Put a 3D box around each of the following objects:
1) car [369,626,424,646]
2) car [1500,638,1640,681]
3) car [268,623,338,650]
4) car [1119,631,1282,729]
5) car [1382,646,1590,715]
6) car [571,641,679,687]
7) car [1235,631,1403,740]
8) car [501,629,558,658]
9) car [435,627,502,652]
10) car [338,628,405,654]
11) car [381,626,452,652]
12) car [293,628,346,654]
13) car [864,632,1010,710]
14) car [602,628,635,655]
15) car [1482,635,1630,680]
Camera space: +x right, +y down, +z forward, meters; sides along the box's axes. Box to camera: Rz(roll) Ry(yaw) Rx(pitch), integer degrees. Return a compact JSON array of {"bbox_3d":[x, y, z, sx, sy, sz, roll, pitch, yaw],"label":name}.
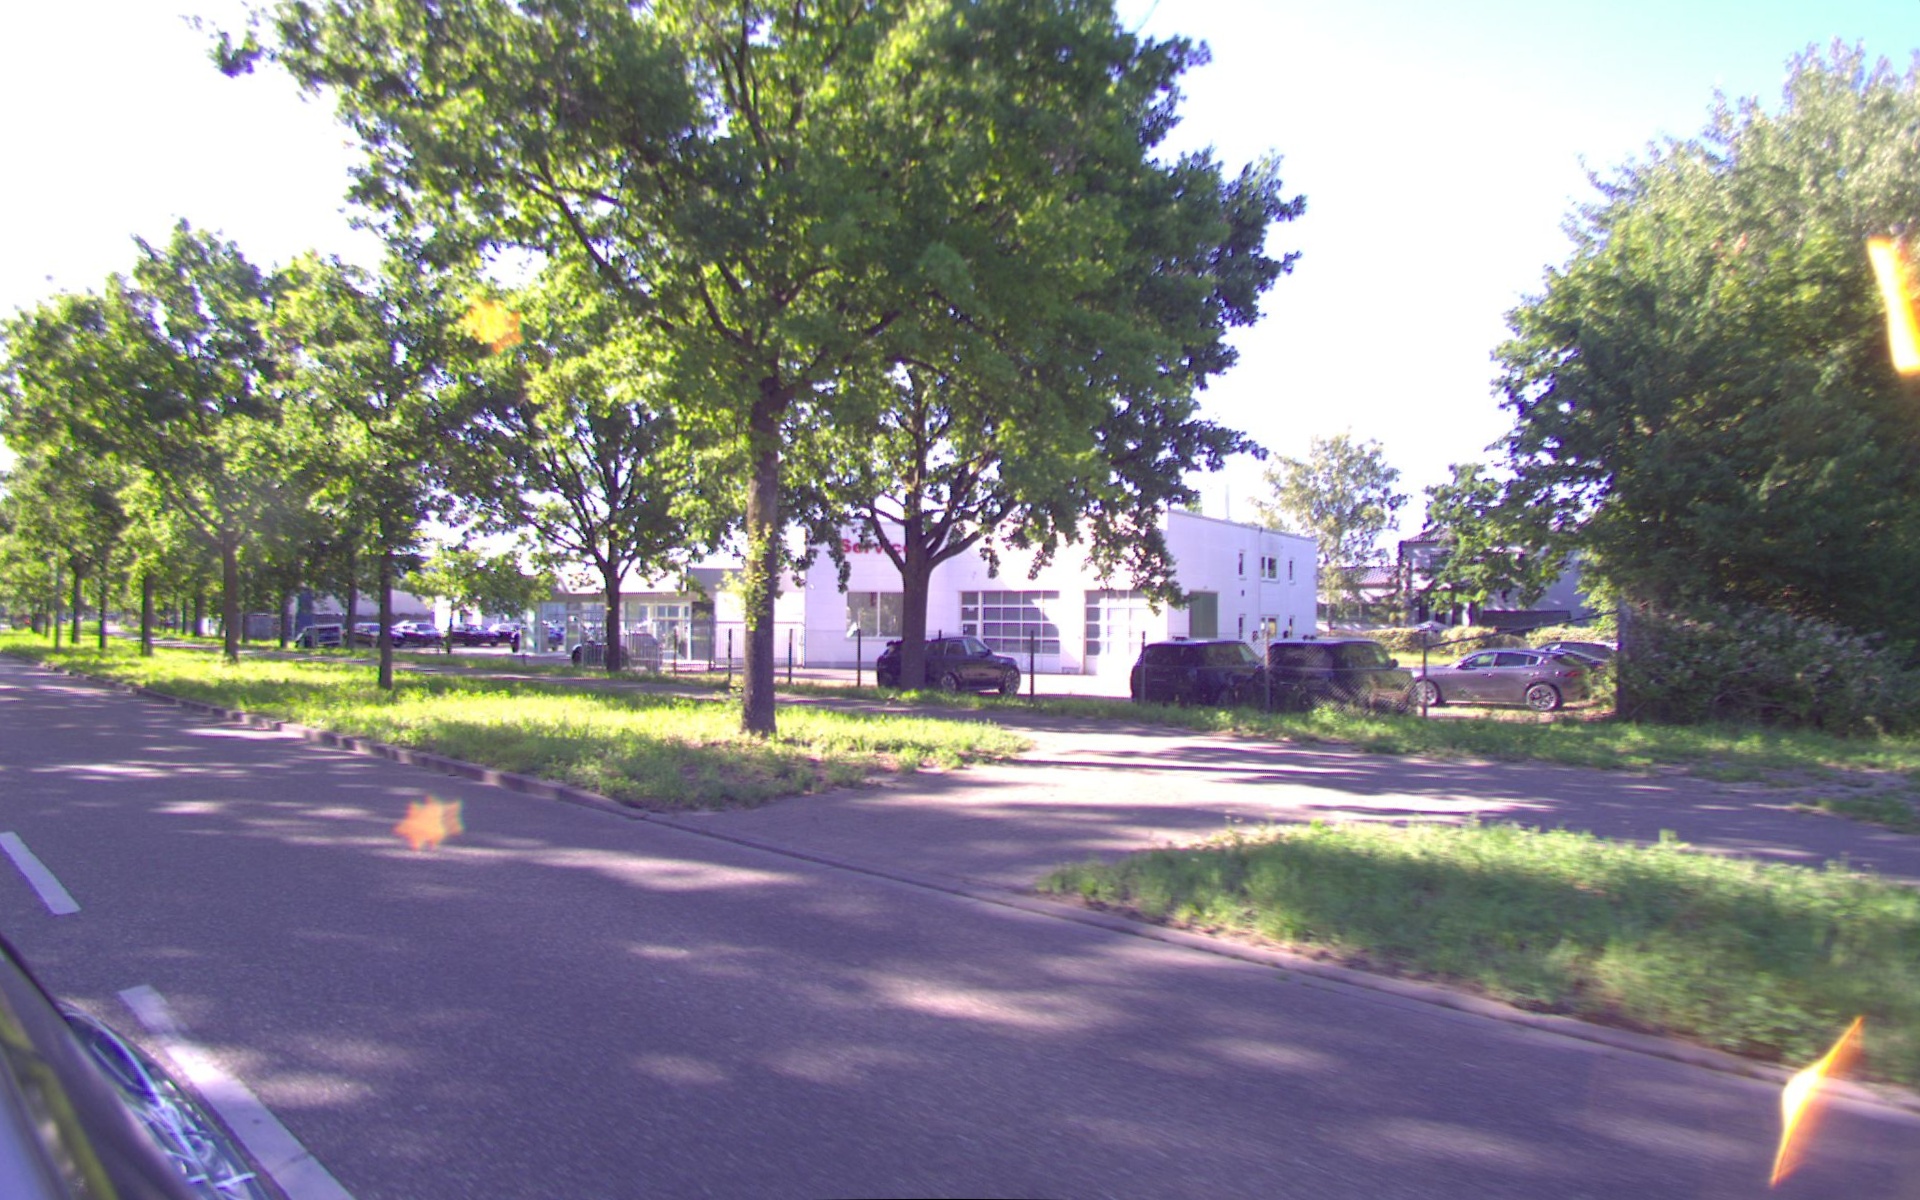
[{"bbox_3d":[-49.031,3.105,88.100,3.940,1.530,1.753,-1,0,-44],"label":"car"},{"bbox_3d":[26.175,2.509,43.540,4.885,1.578,1.972,-1,0,43],"label":"car"},{"bbox_3d":[-47.121,2.601,72.664,3.939,1.755,2.002,-1,0,-43],"label":"car"},{"bbox_3d":[5.477,1.691,22.679,1.997,1.815,4.150,-1,0,38],"label":"car"},{"bbox_3d":[14.561,2.165,28.136,4.877,1.578,1.975,-1,0,37],"label":"car"},{"bbox_3d":[-13.619,2.549,41.013,5.014,1.610,1.972,-1,0,43],"label":"car"},{"bbox_3d":[7.373,1.617,20.525,1.997,1.815,4.150,-1,0,38],"label":"car"},{"bbox_3d":[-27.127,2.720,63.920,1.968,1.673,5.268,-1,-2,-8],"label":"car"},{"bbox_3d":[-36.133,2.853,74.355,5.242,1.702,1.978,-1,0,32],"label":"car"},{"bbox_3d":[-40.576,2.801,69.743,4.479,1.688,1.981,-1,0,29],"label":"car"},{"bbox_3d":[-38.668,2.747,71.999,5.239,1.730,1.980,-1,0,30],"label":"car"},{"bbox_3d":[-37.543,2.413,59.387,2.531,1.481,1.430,1,-2,-29],"label":"car"},{"bbox_3d":[-0.548,1.847,27.607,1.996,1.815,3.951,-1,0,36],"label":"car"},{"bbox_3d":[-22.426,2.718,66.505,1.966,1.673,5.025,0,-2,-19],"label":"car"},{"bbox_3d":[24.303,2.302,41.374,4.885,1.578,1.972,-1,0,43],"label":"car"}]
